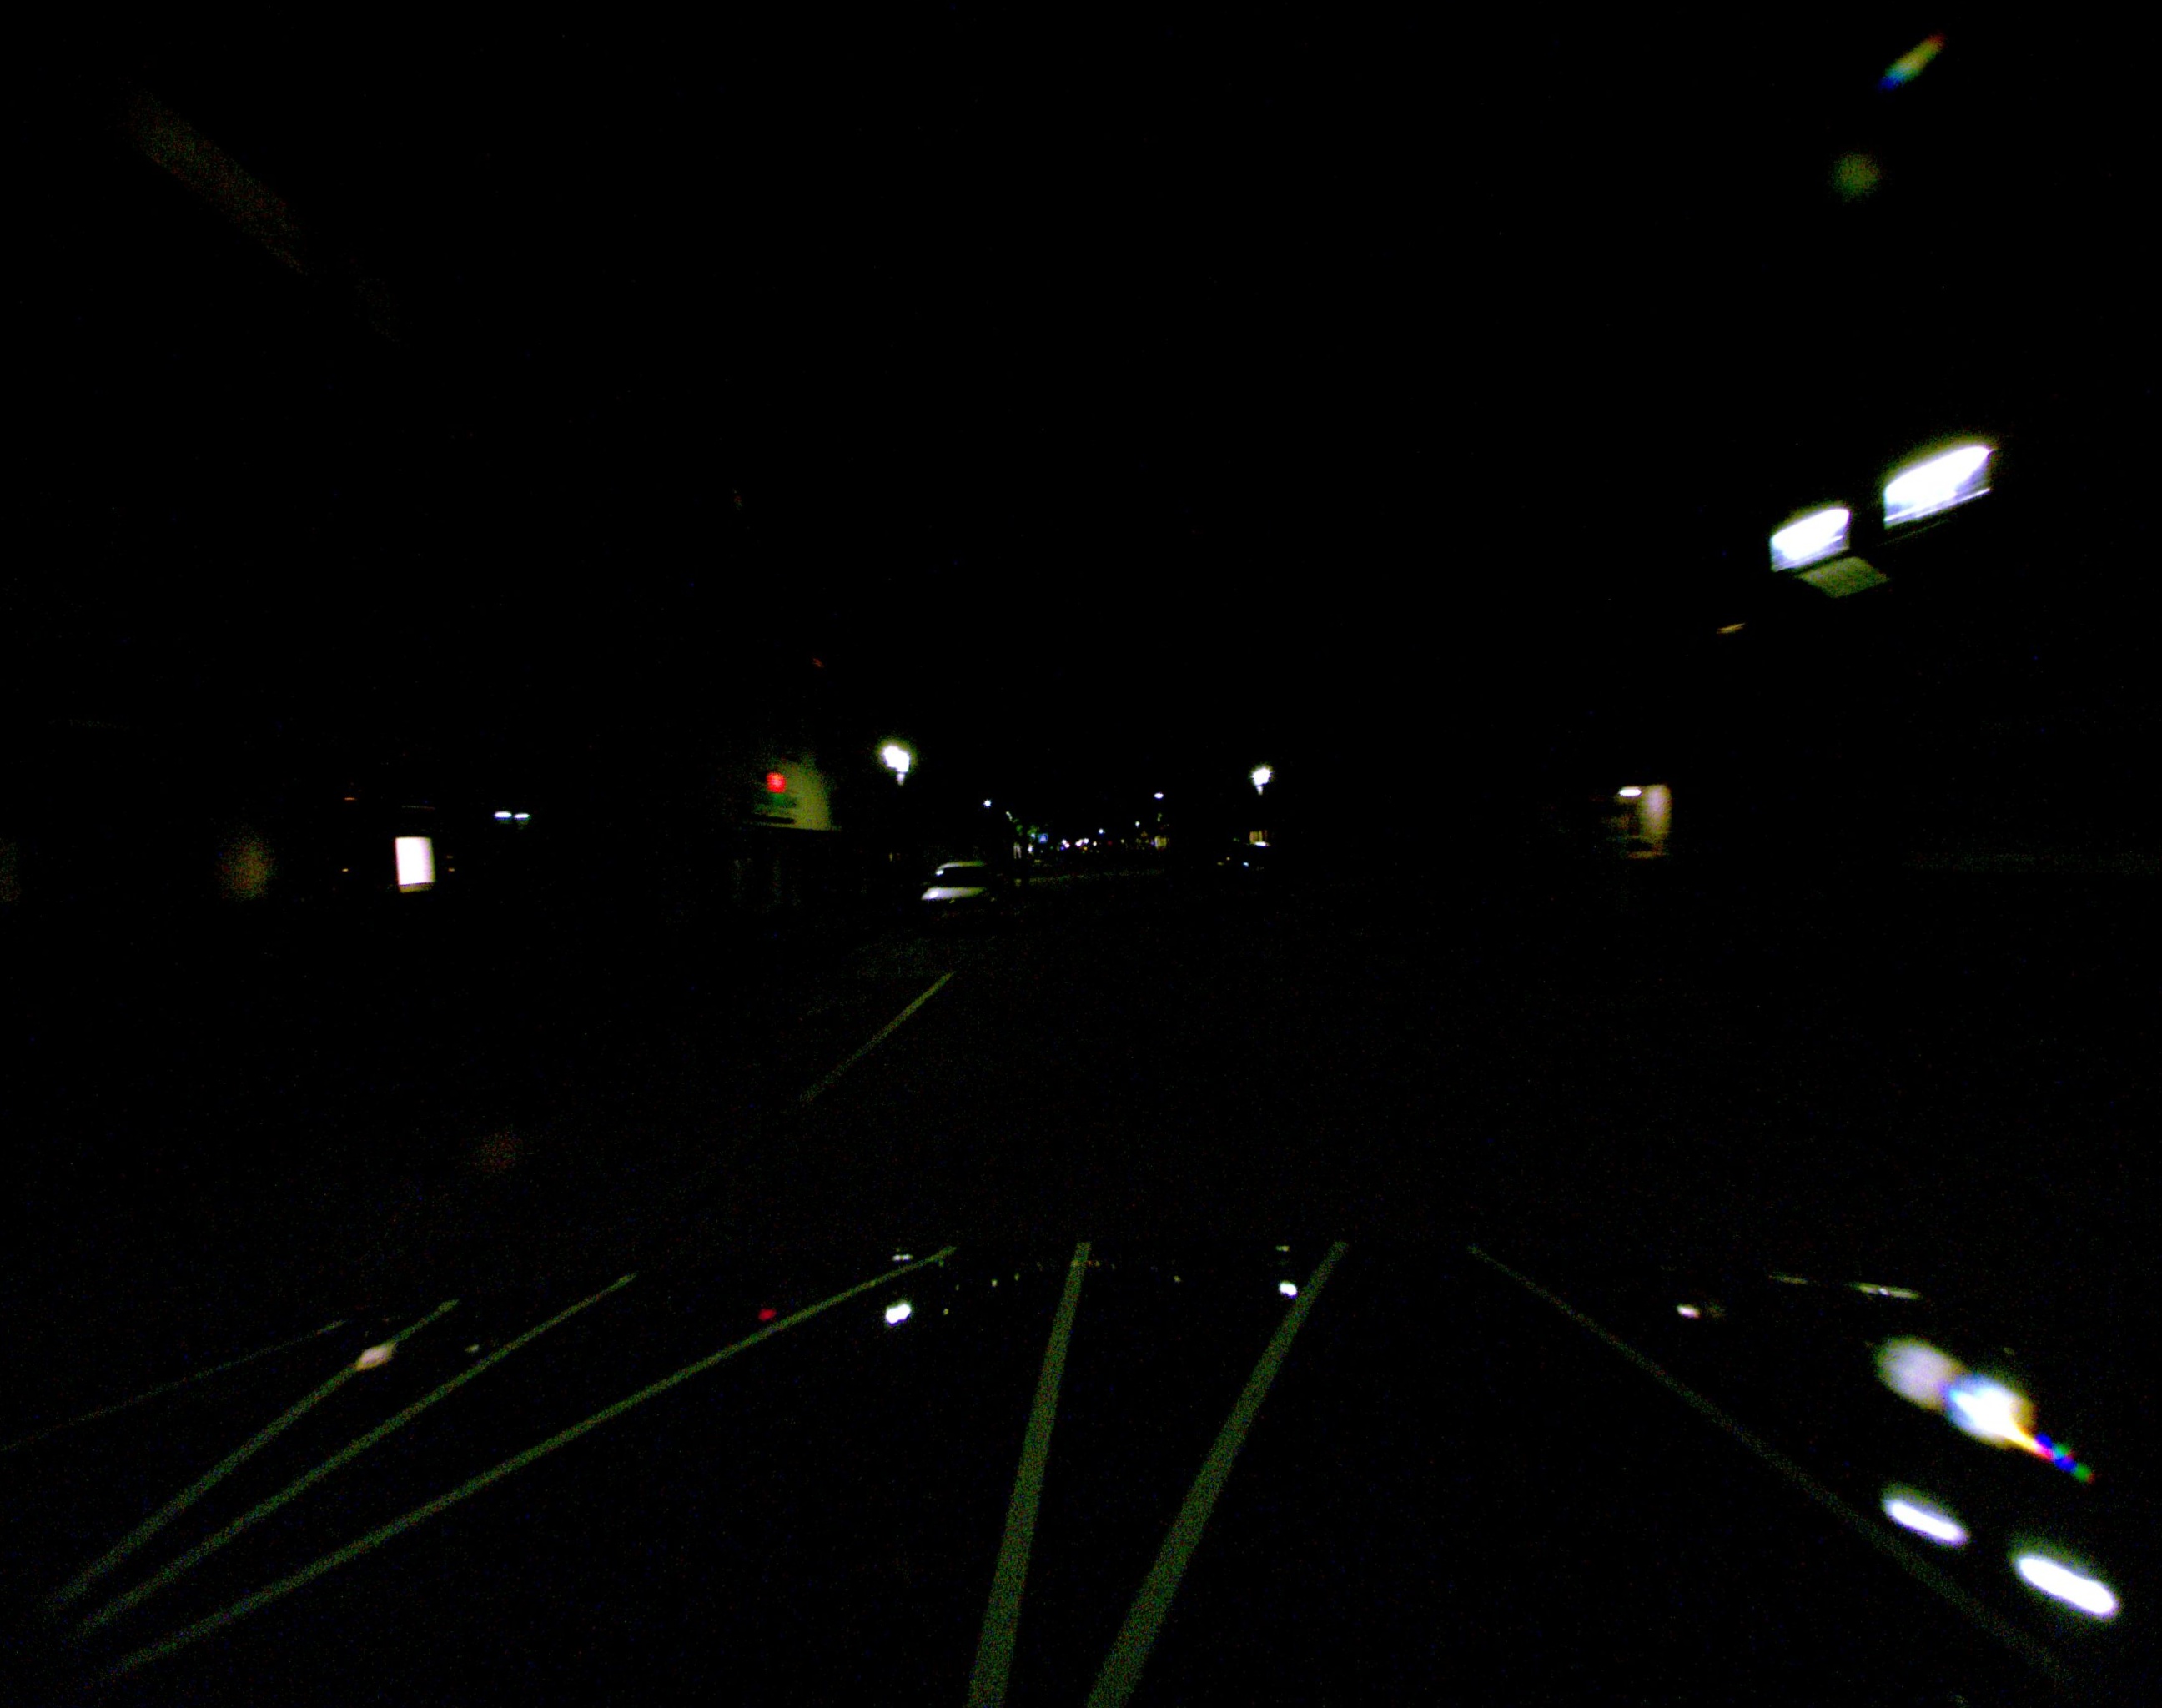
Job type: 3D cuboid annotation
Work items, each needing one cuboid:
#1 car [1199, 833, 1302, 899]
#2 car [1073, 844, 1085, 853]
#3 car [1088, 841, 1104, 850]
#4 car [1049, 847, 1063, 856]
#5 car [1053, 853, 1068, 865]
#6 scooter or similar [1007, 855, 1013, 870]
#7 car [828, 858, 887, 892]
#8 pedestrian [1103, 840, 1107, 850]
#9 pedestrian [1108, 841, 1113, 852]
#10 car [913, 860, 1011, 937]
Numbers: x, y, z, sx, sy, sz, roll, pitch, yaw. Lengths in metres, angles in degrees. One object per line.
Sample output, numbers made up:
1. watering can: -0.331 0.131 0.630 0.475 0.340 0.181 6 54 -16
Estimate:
1. car: 5.053 0.312 23.410 2.023 1.681 5.002 -4 1 1
2. car: -0.433 -1.078 151.063 1.776 1.565 4.478 -4 2 -9
3. car: 2.608 -1.478 134.324 1.765 1.628 4.810 -3 1 -11
4. car: -4.309 -0.441 130.227 1.747 1.479 4.631 -3 2 -7
5. car: -2.728 0.614 100.565 1.739 1.432 4.494 -3 1 -5
6. scooter or similar: -6.677 0.795 71.299 0.374 1.269 1.305 -2 2 1
7. car: -11.272 1.010 38.609 1.809 1.452 4.055 2 2 -1
8. pedestrian: 4.294 -1.627 134.476 0.502 1.812 0.503 -3 3 -6
9. pedestrian: 5.154 -1.334 134.027 0.794 1.807 1.023 -4 2 1
10. car: -2.608 0.937 17.463 1.679 1.451 3.675 -2 1 -1
